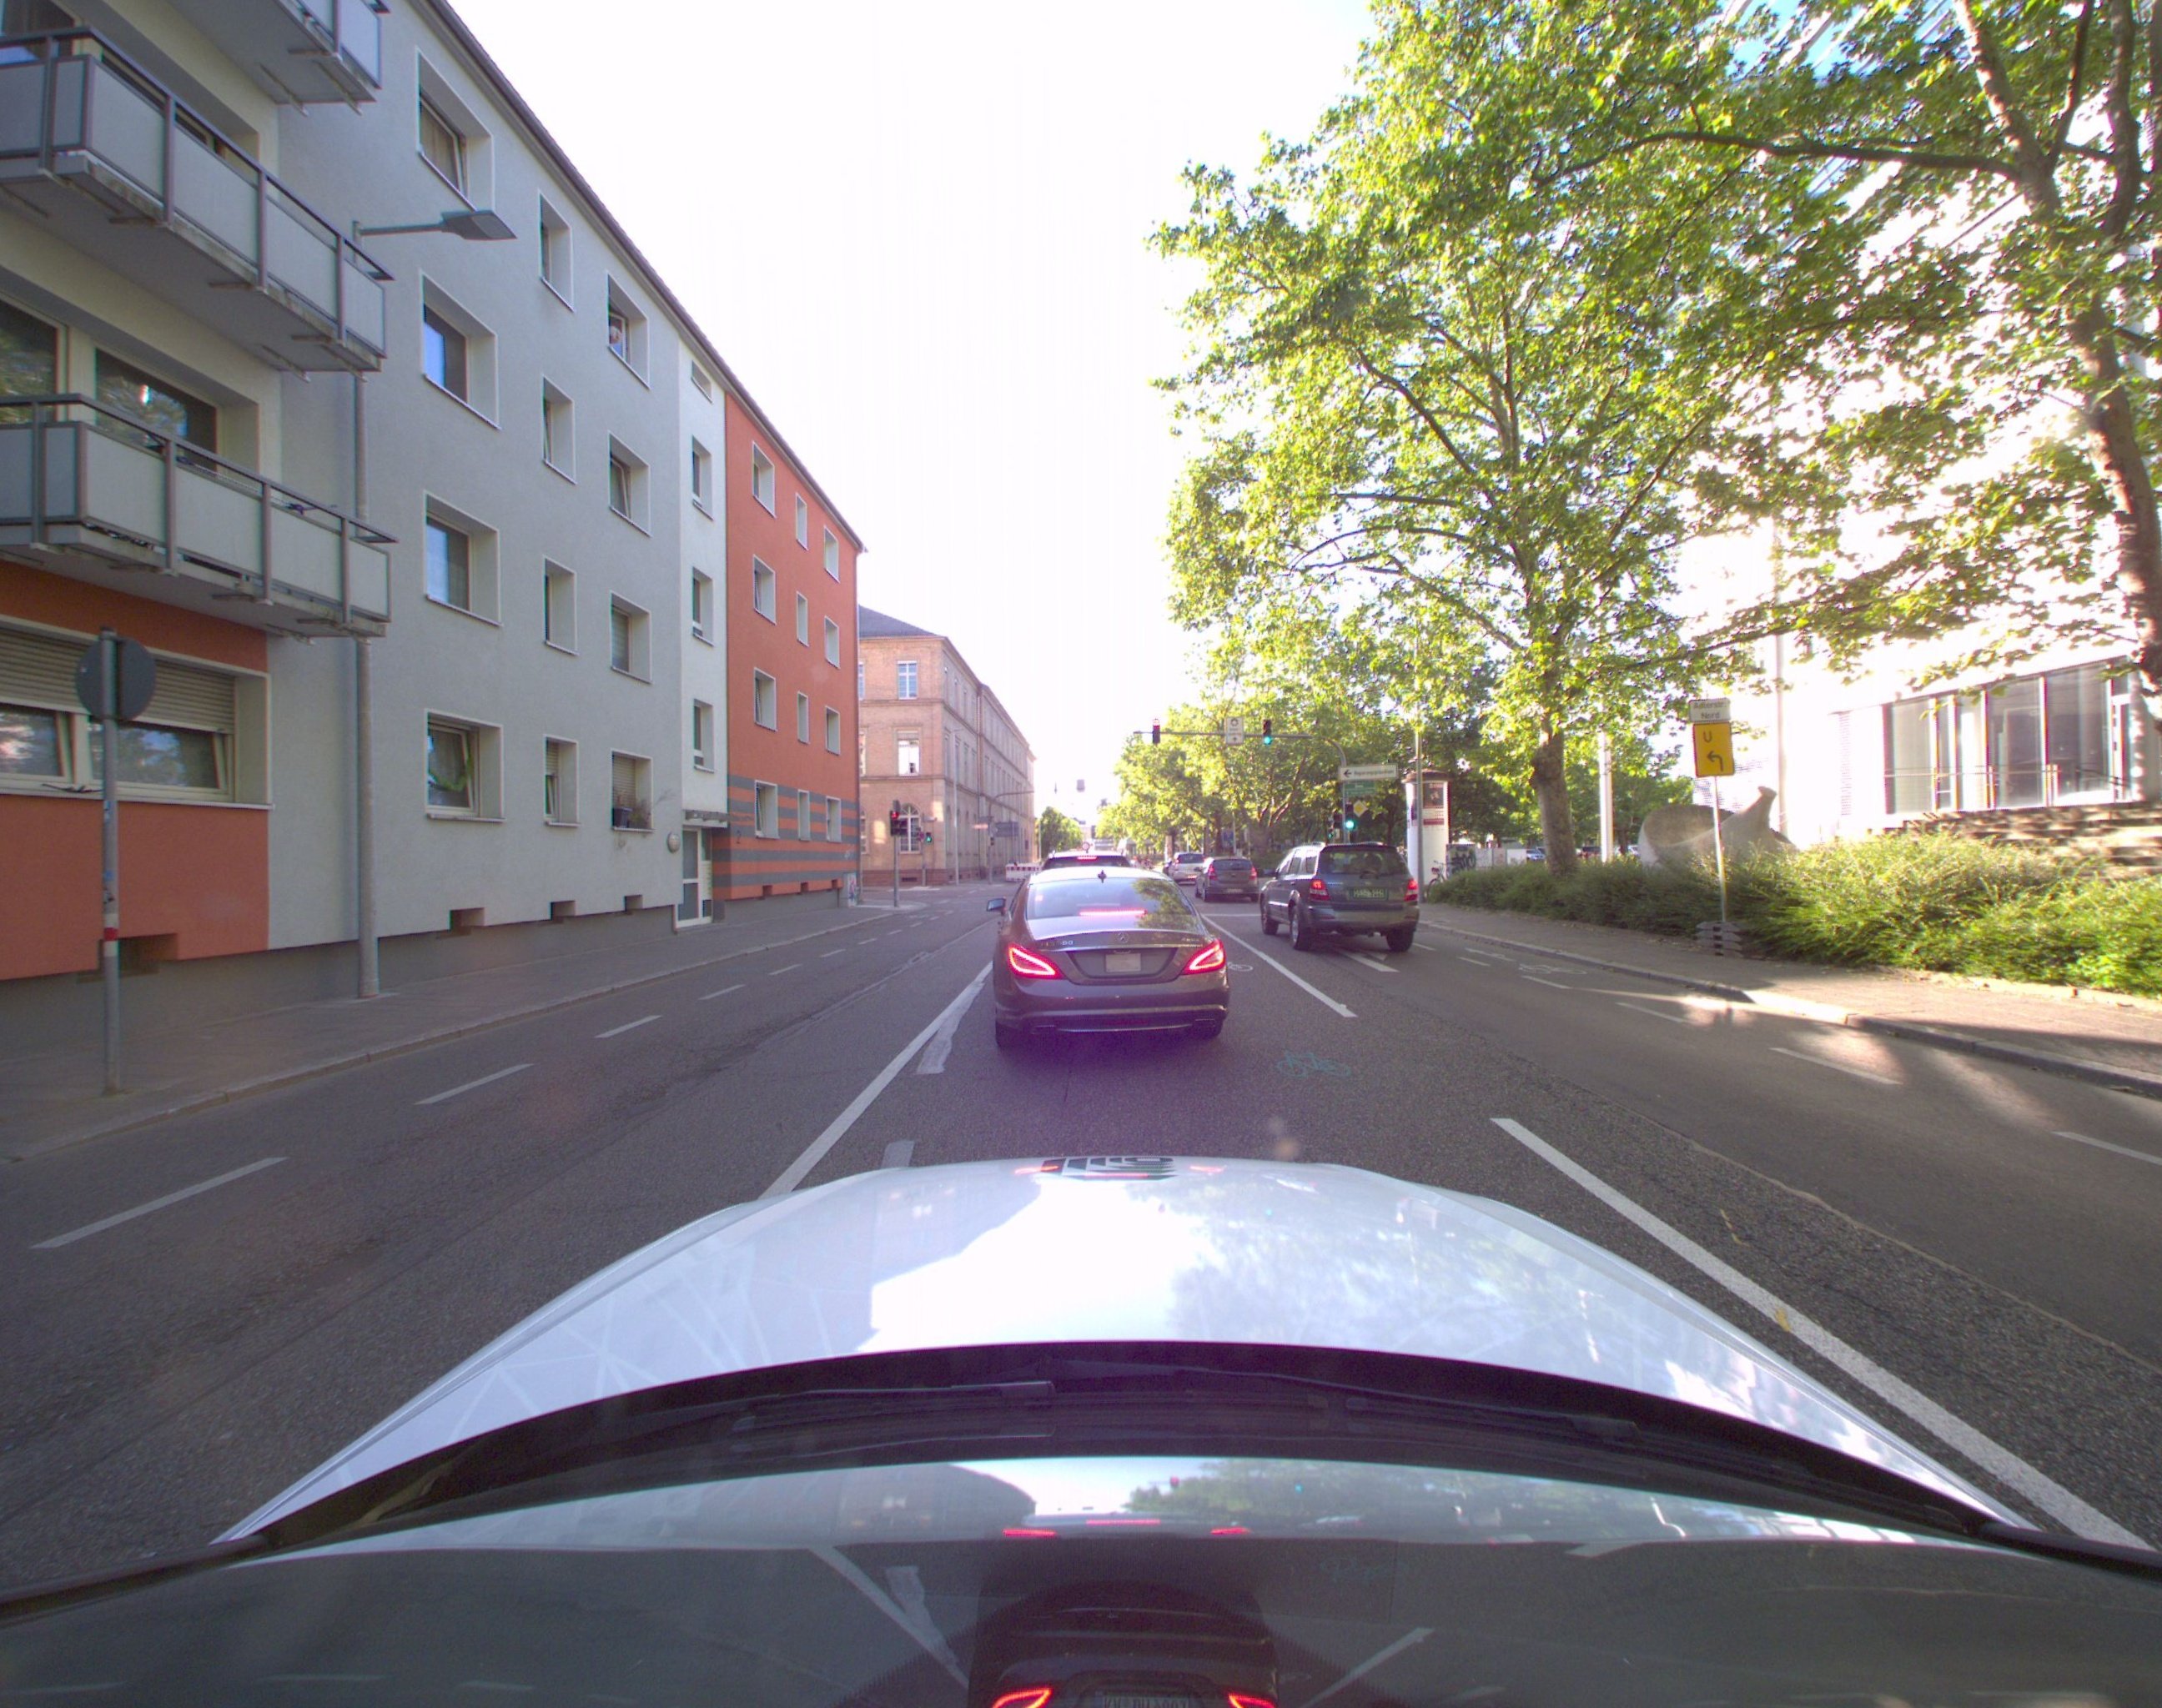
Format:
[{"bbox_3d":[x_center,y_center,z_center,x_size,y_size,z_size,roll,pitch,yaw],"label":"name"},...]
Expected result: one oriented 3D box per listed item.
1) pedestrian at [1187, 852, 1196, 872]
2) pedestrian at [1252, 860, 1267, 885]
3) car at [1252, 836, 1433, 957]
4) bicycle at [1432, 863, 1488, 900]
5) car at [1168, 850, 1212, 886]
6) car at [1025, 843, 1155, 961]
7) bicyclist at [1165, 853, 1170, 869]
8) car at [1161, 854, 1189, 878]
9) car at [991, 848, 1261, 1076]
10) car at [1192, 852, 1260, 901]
[{"bbox_3d":[9.626,0.684,70.797,0.634,1.760,0.698,0,-1,-2],"label":"pedestrian"},{"bbox_3d":[11.230,1.150,51.186,0.635,1.545,0.908,0,-1,-7],"label":"pedestrian"},{"bbox_3d":[4.344,0.629,14.296,1.854,1.764,4.483,-1,0,2],"label":"car"},{"bbox_3d":[10.980,0.777,23.569,1.895,1.028,0.635,0,-1,-36],"label":"bicycle"},{"bbox_3d":[5.271,0.643,39.690,1.725,1.662,3.682,0,-1,2],"label":"car"},{"bbox_3d":[0.188,0.693,13.730,1.854,1.682,4.002,-1,0,2],"label":"car"},{"bbox_3d":[11.149,0.844,104.852,0.593,2.039,0.566,0,-1,-2],"label":"bicyclist"},{"bbox_3d":[6.309,0.784,55.100,1.595,1.549,3.682,0,-1,2],"label":"car"},{"bbox_3d":[0.140,0.735,7.595,1.859,1.519,3.992,-1,0,-6],"label":"car"},{"bbox_3d":[4.815,0.703,27.471,1.698,1.519,4.002,-1,0,2],"label":"car"}]
